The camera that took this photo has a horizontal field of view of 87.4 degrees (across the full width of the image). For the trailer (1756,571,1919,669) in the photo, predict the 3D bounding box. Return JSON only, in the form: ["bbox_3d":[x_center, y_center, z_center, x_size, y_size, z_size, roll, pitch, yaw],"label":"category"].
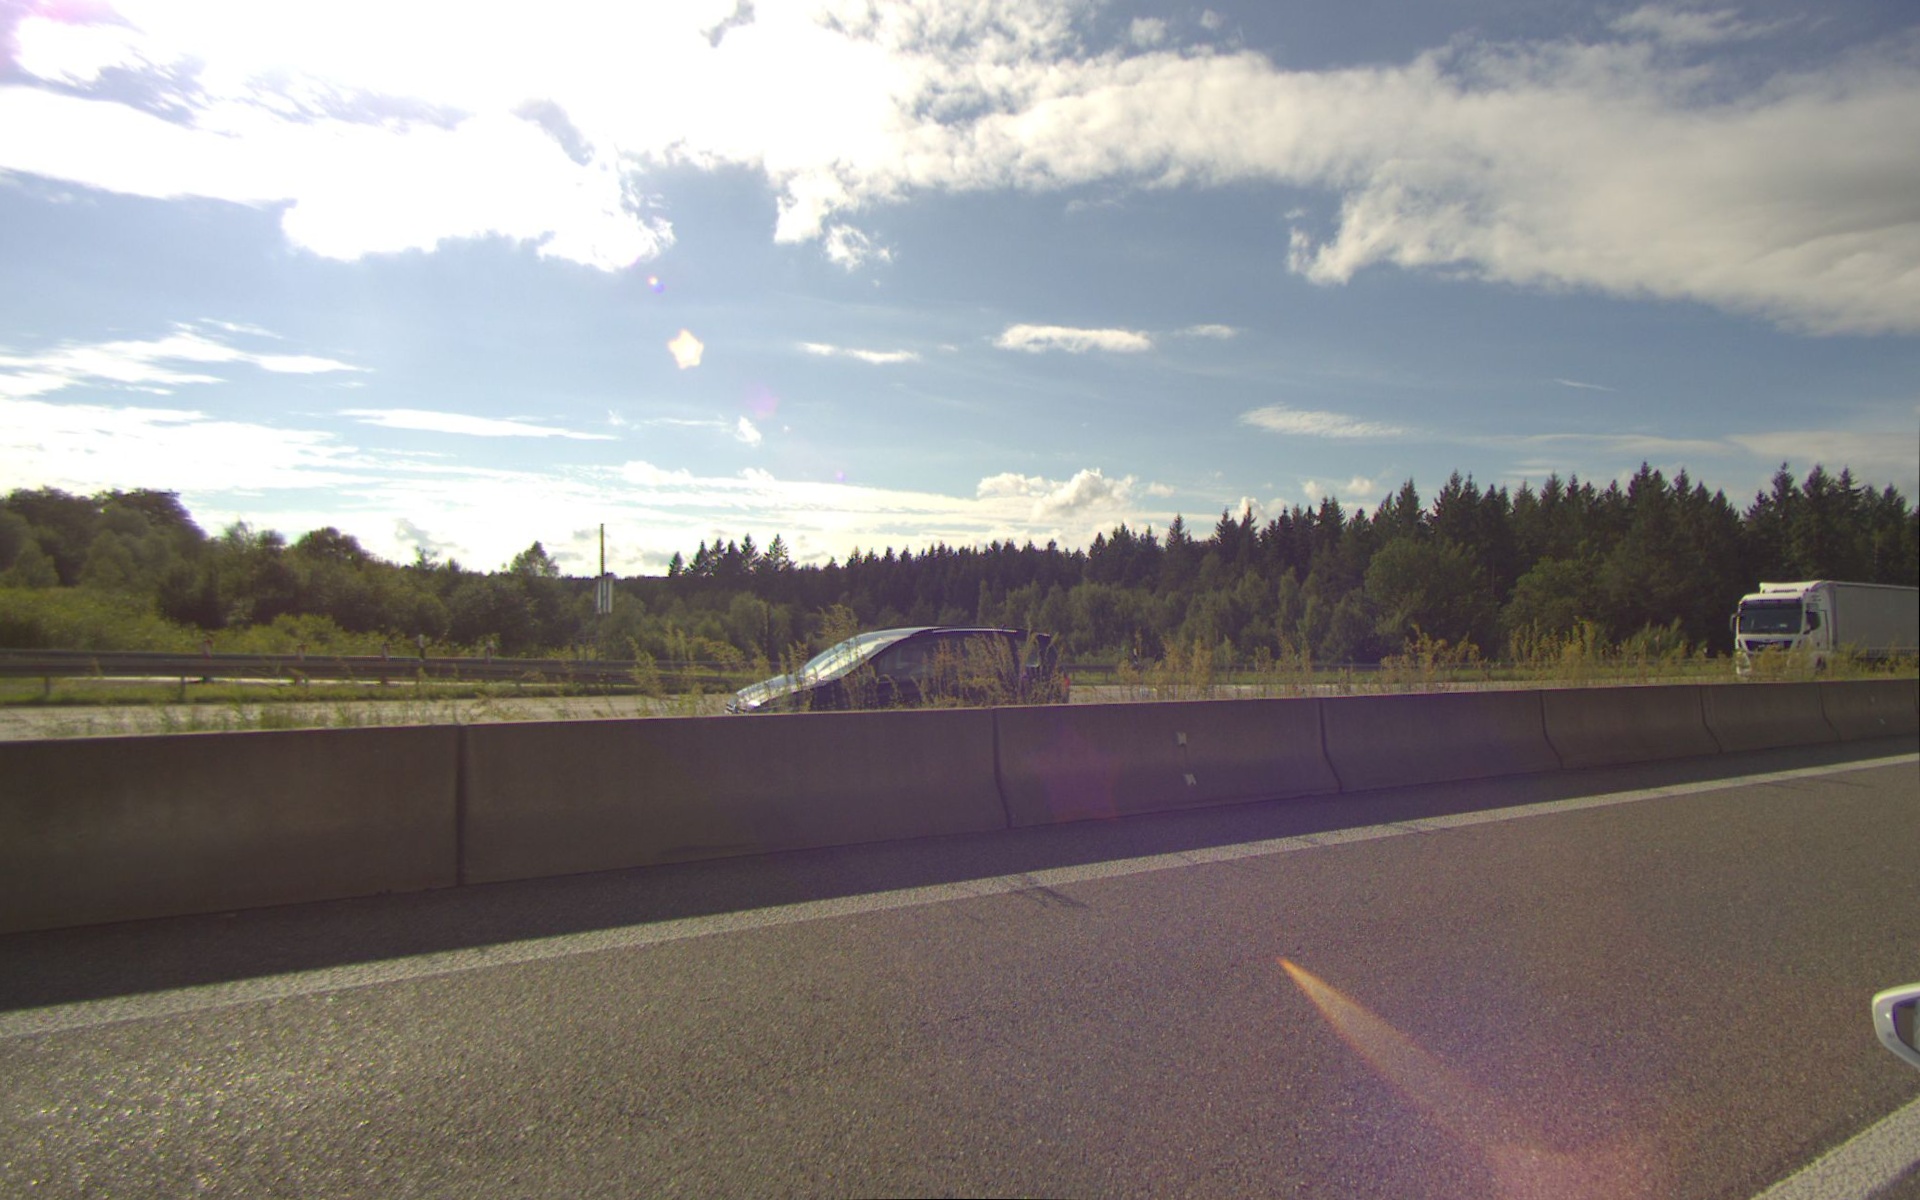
[{"bbox_3d":[41.032,1.029,45.829,13.391,4.045,2.819,2,-2,-31],"label":"trailer"}]

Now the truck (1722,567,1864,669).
[{"bbox_3d":[35.103,0.825,42.307,5.765,4.028,2.806,2,-2,-30],"label":"truck"}]

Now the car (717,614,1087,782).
[{"bbox_3d":[-0.662,1.102,12.440,4.202,1.716,1.806,2,0,-31],"label":"car"}]
